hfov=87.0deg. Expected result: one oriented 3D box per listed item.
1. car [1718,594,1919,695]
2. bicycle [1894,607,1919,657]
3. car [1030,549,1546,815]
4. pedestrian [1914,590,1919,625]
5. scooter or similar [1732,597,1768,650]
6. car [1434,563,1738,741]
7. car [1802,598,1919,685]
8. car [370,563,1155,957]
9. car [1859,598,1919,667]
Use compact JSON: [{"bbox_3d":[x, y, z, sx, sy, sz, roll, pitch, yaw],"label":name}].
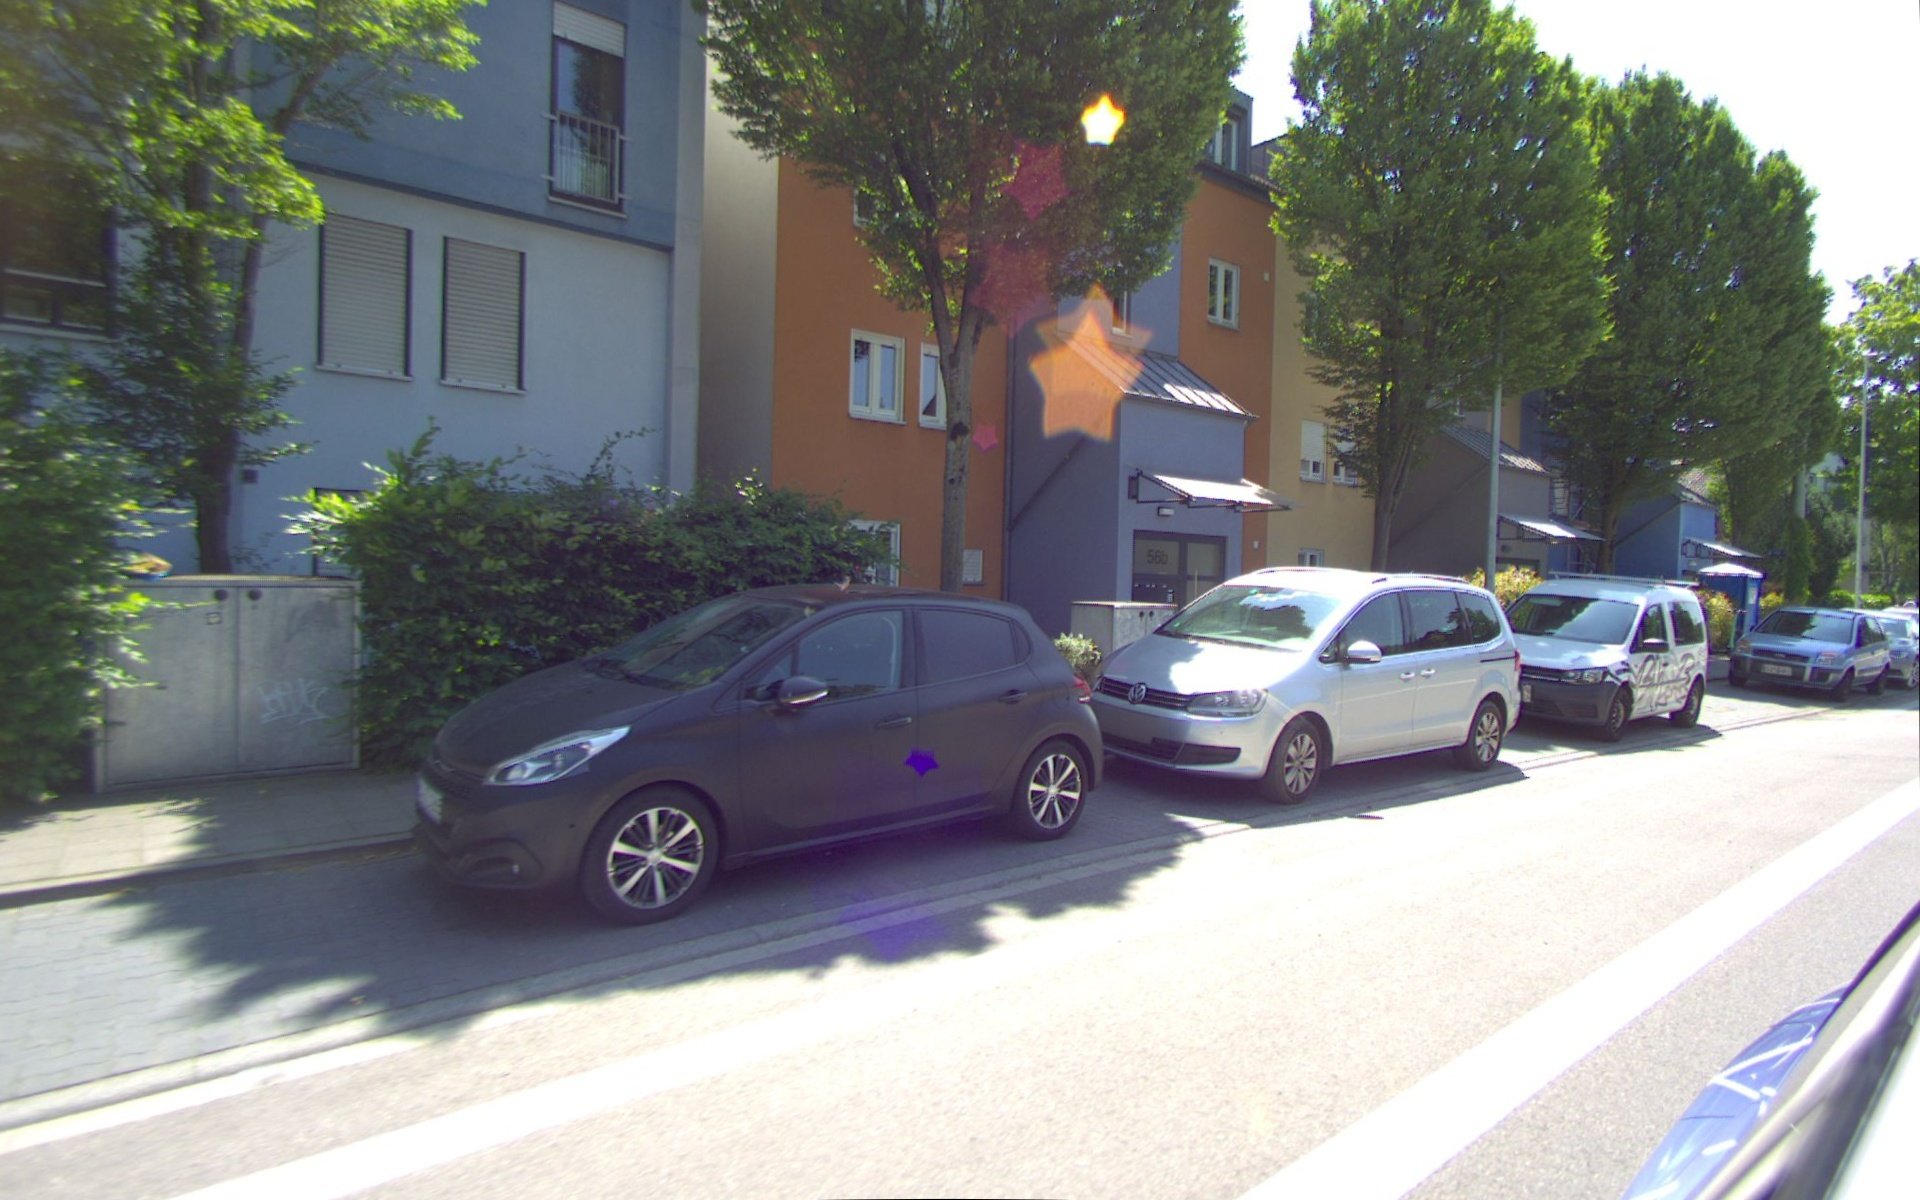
[{"bbox_3d":[15.883,0.748,18.636,4.136,1.548,1.847,1,3,-36],"label":"car"},{"bbox_3d":[25.254,0.903,25.907,0.670,1.242,1.783,0,6,-32],"label":"bicycle"},{"bbox_3d":[3.016,0.519,8.806,4.689,1.714,1.847,0,3,-37],"label":"car"},{"bbox_3d":[49.266,0.384,51.670,0.622,1.743,0.748,0,0,-43],"label":"pedestrian"},{"bbox_3d":[19.576,0.572,25.062,1.314,1.296,0.385,0,-1,-37],"label":"scooter or similar"},{"bbox_3d":[7.946,0.532,12.706,4.274,1.815,1.846,0,3,-39],"label":"car"},{"bbox_3d":[19.738,0.798,21.576,4.877,1.548,1.845,0,3,-40],"label":"car"},{"bbox_3d":[-0.862,0.591,5.758,4.105,1.440,1.588,0,3,-40],"label":"car"},{"bbox_3d":[23.578,0.776,24.810,3.745,1.548,1.524,0,3,-37],"label":"car"}]
